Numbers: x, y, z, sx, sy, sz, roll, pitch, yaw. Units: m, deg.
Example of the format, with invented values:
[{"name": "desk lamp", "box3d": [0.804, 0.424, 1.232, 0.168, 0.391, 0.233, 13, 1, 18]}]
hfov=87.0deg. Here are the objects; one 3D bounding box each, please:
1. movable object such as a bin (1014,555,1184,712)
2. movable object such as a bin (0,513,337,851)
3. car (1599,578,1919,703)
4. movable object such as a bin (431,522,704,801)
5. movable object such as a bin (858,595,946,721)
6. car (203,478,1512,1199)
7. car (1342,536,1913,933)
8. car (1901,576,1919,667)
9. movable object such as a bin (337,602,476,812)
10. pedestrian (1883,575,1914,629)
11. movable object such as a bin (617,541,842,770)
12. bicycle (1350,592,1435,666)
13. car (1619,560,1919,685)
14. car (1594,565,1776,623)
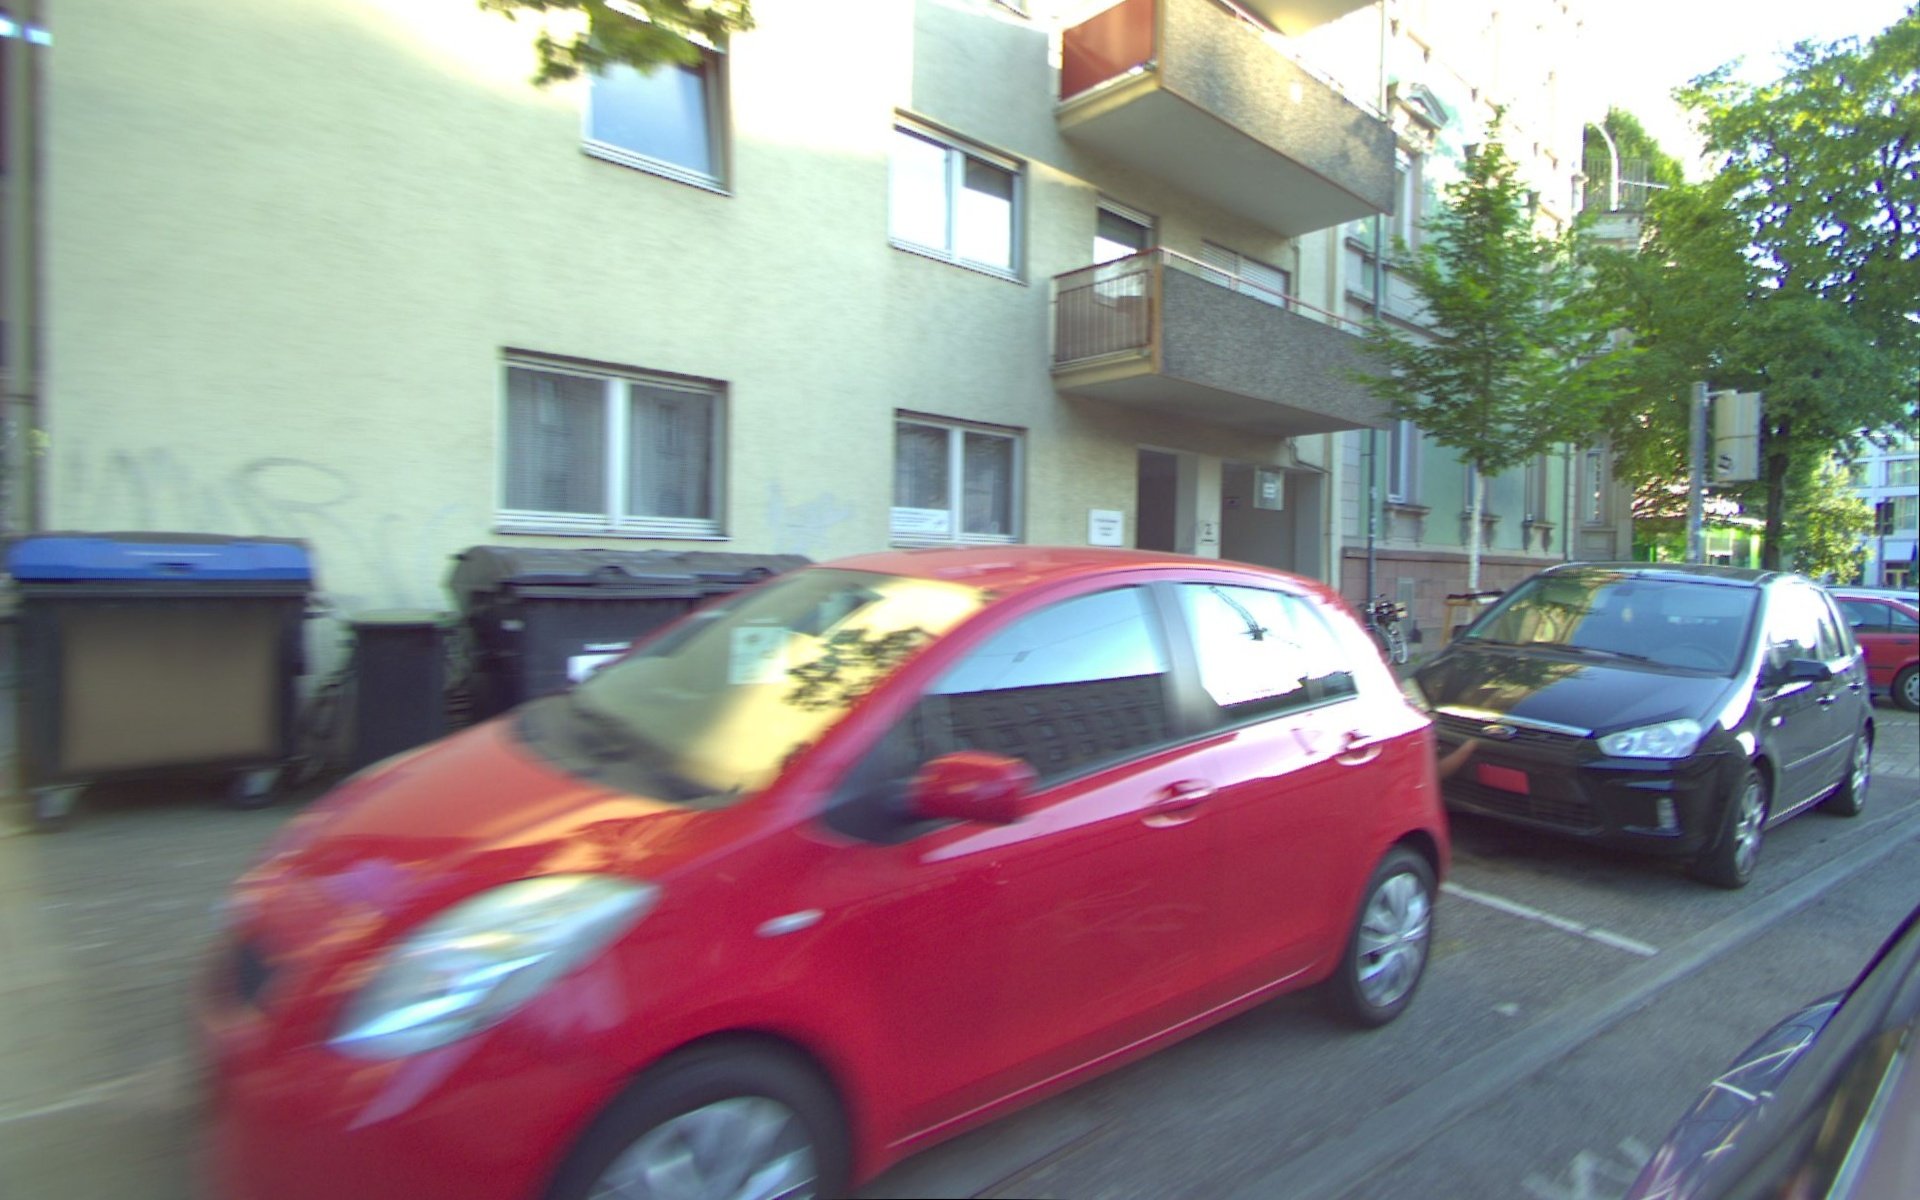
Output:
[{"name": "movable object such as a bin", "box3d": [1.479, 0.303, 10.740, 1.457, 1.520, 1.115, -1, 1, -42]}, {"name": "movable object such as a bin", "box3d": [-4.304, 0.348, 5.326, 1.571, 1.520, 1.142, -1, 1, -42]}, {"name": "car", "box3d": [11.008, 0.475, 13.245, 4.155, 1.472, 1.636, 1, 1, 19]}, {"name": "movable object such as a bin", "box3d": [-2.461, 0.318, 6.357, 1.297, 1.520, 1.073, -1, 1, -44]}, {"name": "movable object such as a bin", "box3d": [-0.520, 0.497, 9.085, 0.561, 1.060, 0.554, 0, 1, -43]}, {"name": "car", "box3d": [-0.022, 0.550, 3.063, 3.625, 1.554, 1.570, -1, 4, -37]}, {"name": "car", "box3d": [4.255, 0.504, 6.211, 4.015, 1.651, 1.748, -1, 4, -39]}, {"name": "car", "box3d": [18.606, 0.404, 18.342, 3.929, 1.571, 1.685, -1, 5, -40]}, {"name": "movable object such as a bin", "box3d": [-3.065, 0.552, 5.606, 0.561, 1.060, 0.554, 0, 1, -43]}, {"name": "pedestrian", "box3d": [31.897, 0.067, 34.388, 0.973, 1.790, 0.707, 0, 1, -44]}, {"name": "movable object such as a bin", "box3d": [-1.722, 0.347, 7.565, 1.249, 1.520, 1.142, -1, 1, -42]}, {"name": "bicycle", "box3d": [6.809, 0.431, 15.898, 1.530, 1.088, 0.651, -1, 1, -43]}, {"name": "car", "box3d": [12.651, 0.284, 15.315, 4.156, 1.746, 1.711, 1, 1, 20]}, {"name": "car", "box3d": [21.377, -0.205, 29.999, 1.767, 1.593, 4.003, 1, 1, -29]}]
